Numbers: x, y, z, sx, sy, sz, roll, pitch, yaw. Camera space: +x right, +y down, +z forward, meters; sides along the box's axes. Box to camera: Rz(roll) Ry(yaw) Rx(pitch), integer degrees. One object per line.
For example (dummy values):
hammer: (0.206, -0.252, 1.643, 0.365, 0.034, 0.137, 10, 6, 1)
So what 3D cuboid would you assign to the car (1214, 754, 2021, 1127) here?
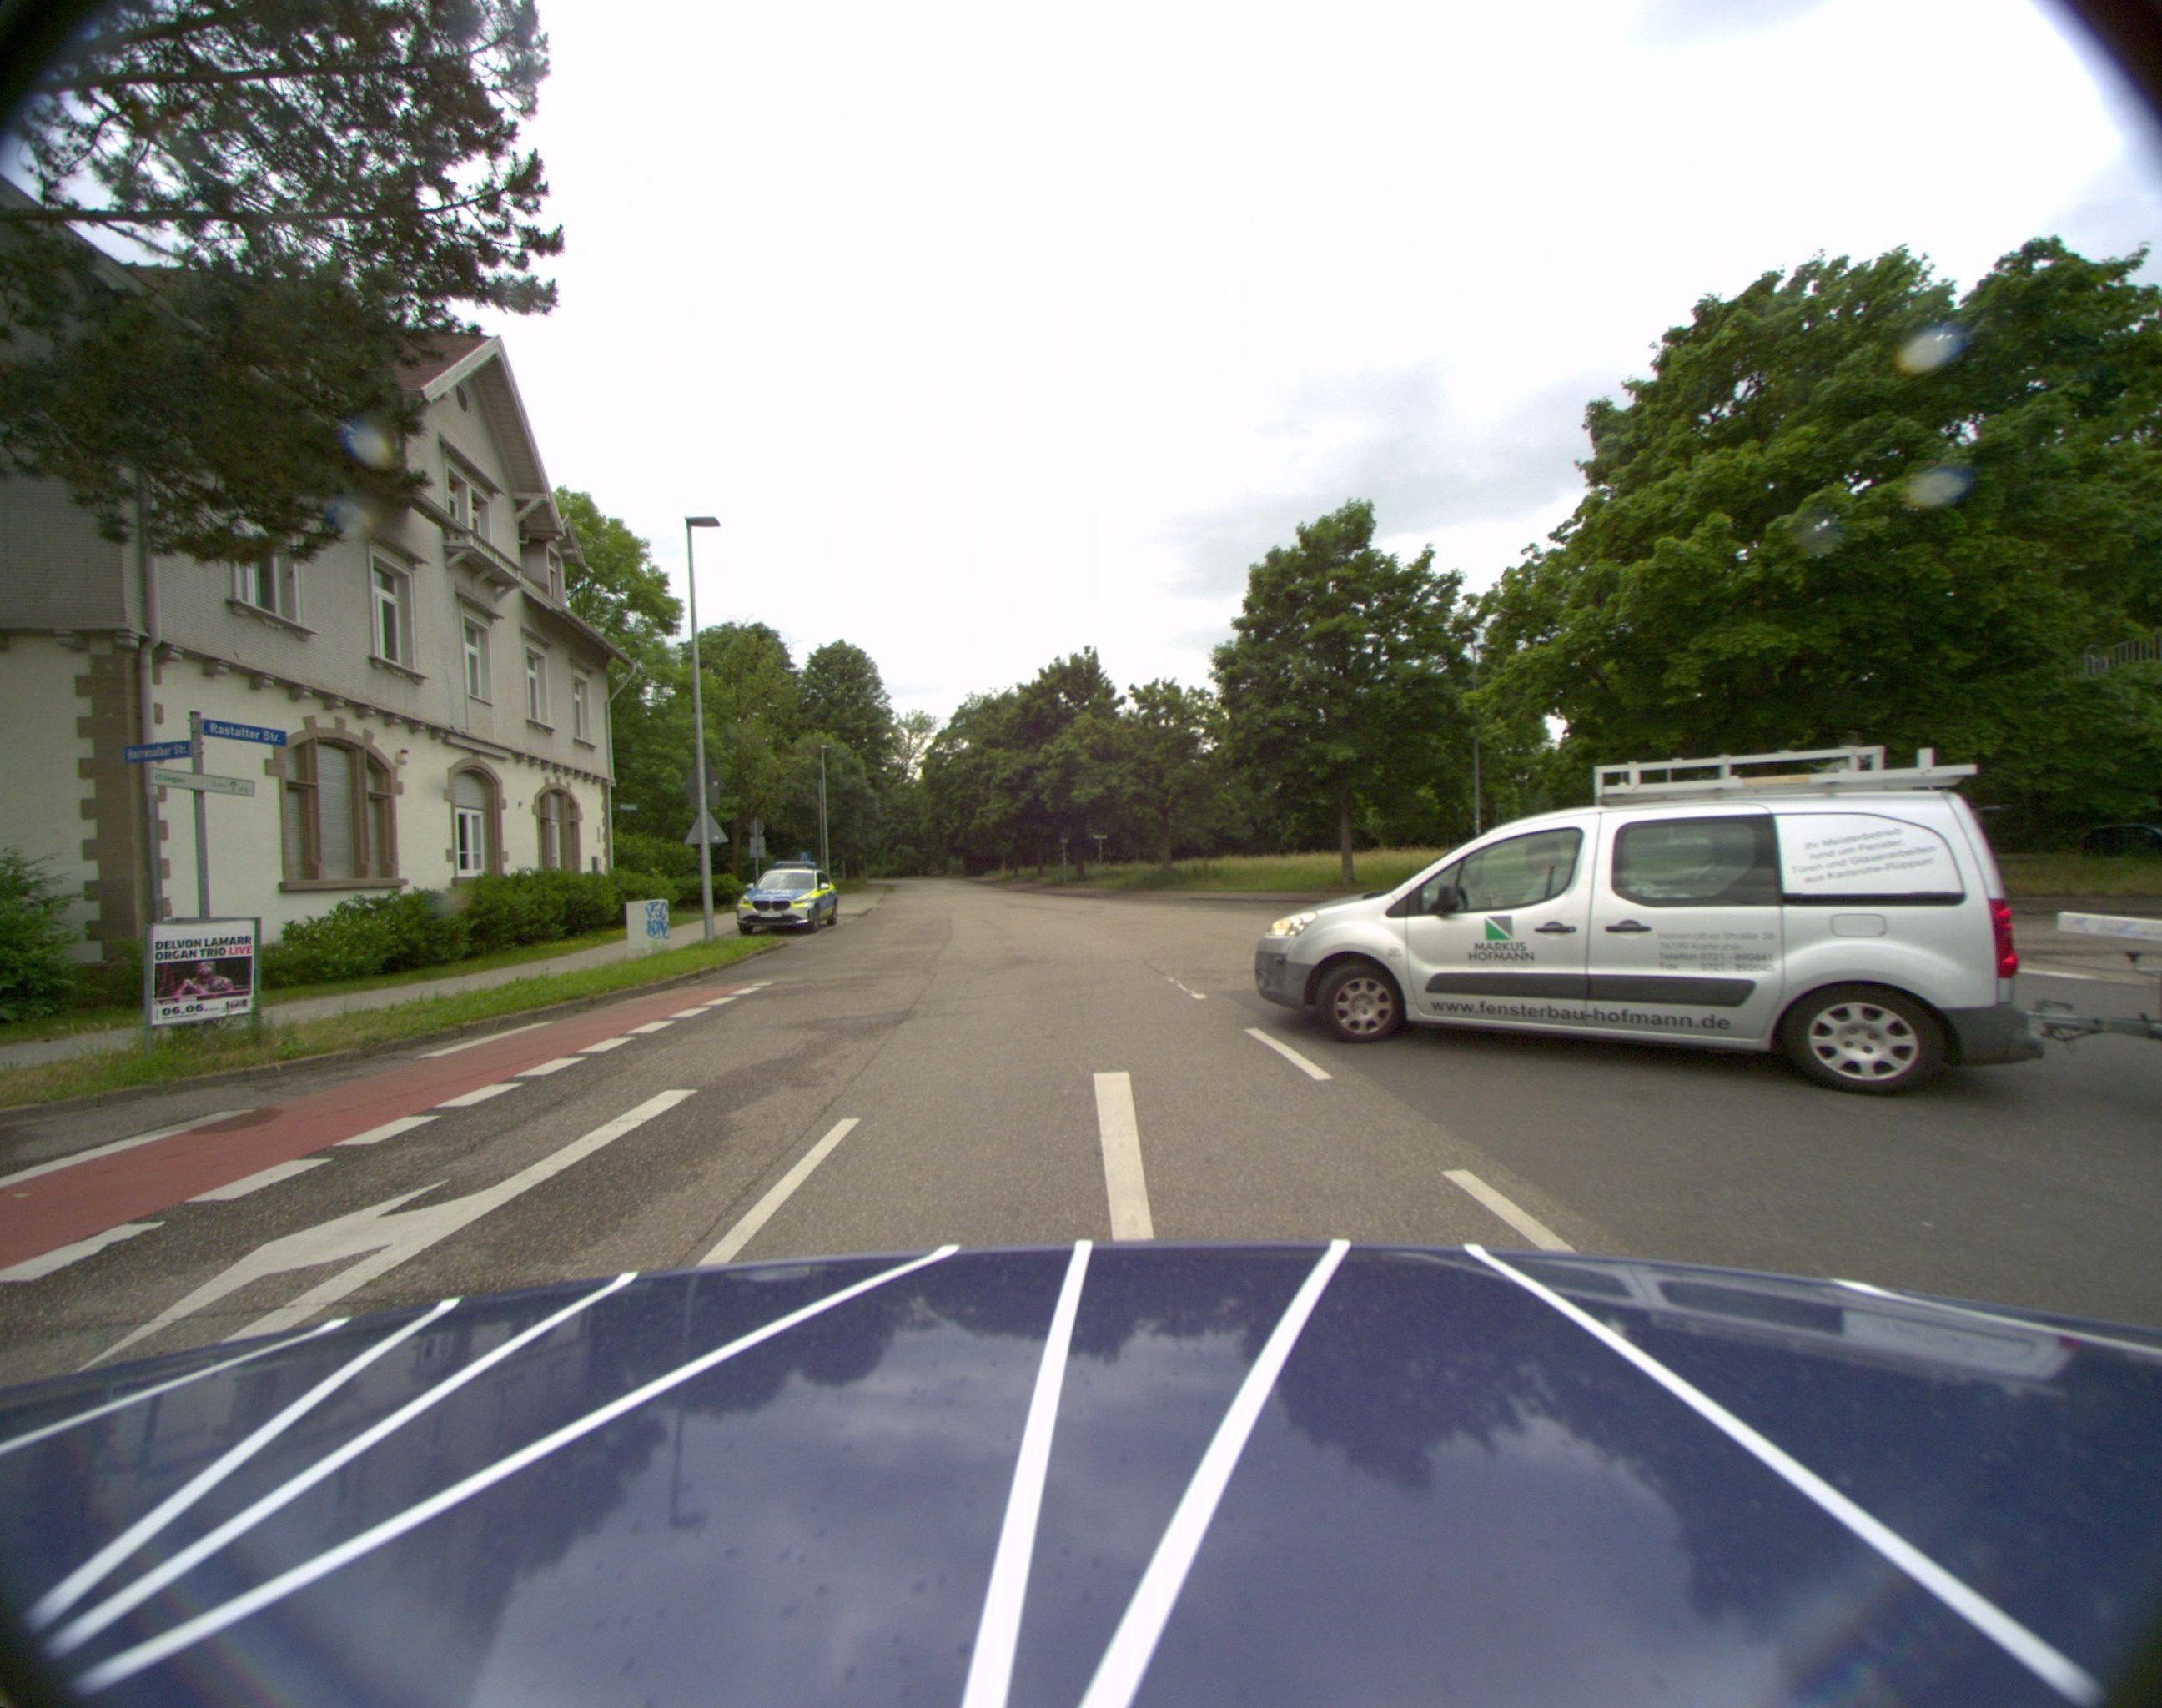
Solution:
car: (3.420, 0.440, 5.758, 4.210, 1.847, 2.098, -1, 1, 33)

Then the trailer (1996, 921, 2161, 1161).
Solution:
trailer: (6.274, 0.932, 2.760, 1.573, 0.980, 3.458, -3, 1, -22)

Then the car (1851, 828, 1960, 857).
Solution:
car: (41.831, -0.577, 38.687, 1.692, 1.343, 4.003, -2, 0, 11)

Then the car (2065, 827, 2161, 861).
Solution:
car: (40.409, -0.396, 28.708, 1.692, 1.231, 4.003, -2, 0, 11)

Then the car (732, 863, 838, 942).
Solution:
car: (-7.609, 1.154, 19.928, 1.937, 1.839, 3.996, 0, 0, -12)
